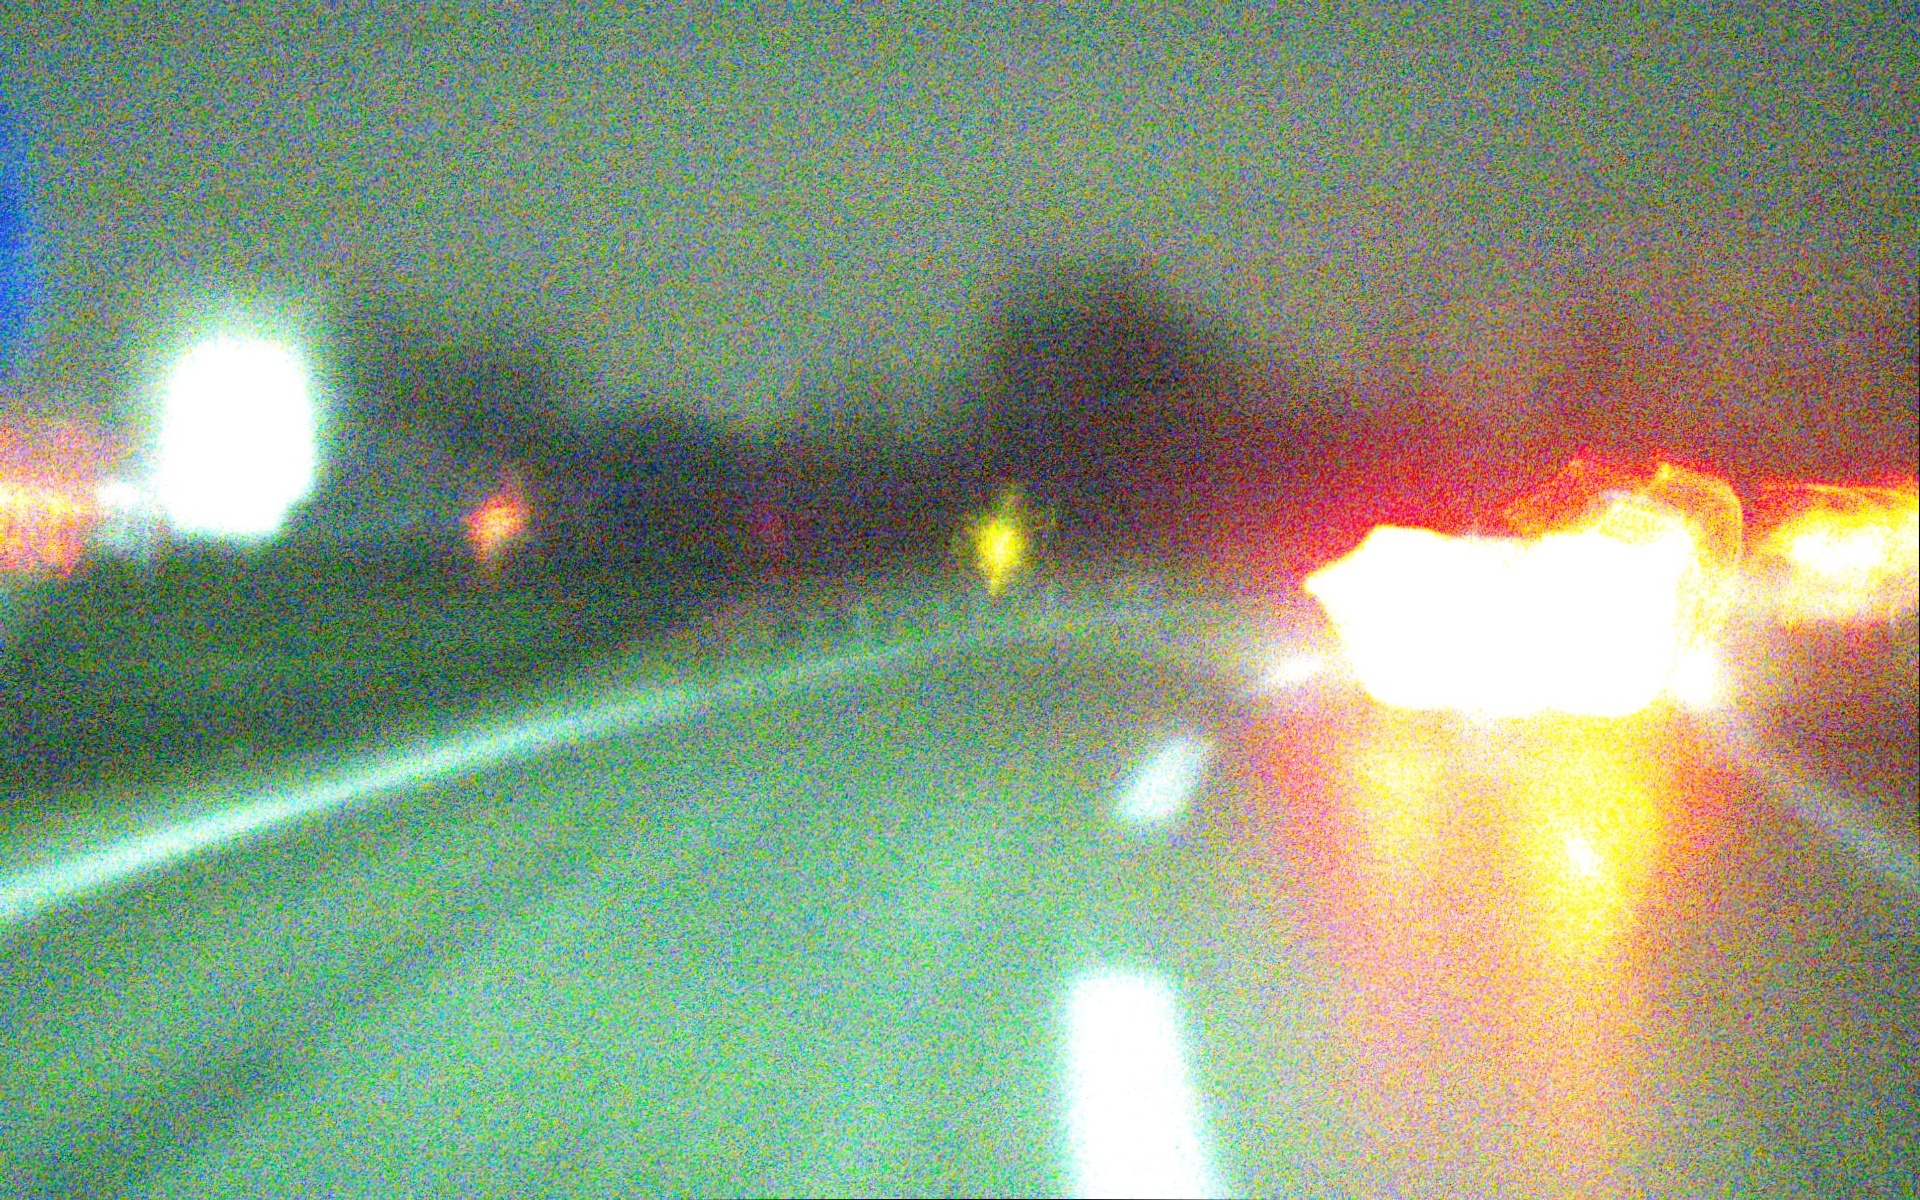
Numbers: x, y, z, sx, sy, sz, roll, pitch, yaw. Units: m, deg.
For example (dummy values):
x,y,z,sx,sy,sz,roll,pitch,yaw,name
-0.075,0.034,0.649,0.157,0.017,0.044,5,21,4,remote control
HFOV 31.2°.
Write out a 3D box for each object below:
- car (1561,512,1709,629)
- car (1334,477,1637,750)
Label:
x,y,z,sx,sy,sz,roll,pitch,yaw,name
11.272,-0.498,57.206,1.995,1.801,3.997,3,1,16,car
3.954,0.065,25.694,1.994,1.801,3.998,2,1,10,car
